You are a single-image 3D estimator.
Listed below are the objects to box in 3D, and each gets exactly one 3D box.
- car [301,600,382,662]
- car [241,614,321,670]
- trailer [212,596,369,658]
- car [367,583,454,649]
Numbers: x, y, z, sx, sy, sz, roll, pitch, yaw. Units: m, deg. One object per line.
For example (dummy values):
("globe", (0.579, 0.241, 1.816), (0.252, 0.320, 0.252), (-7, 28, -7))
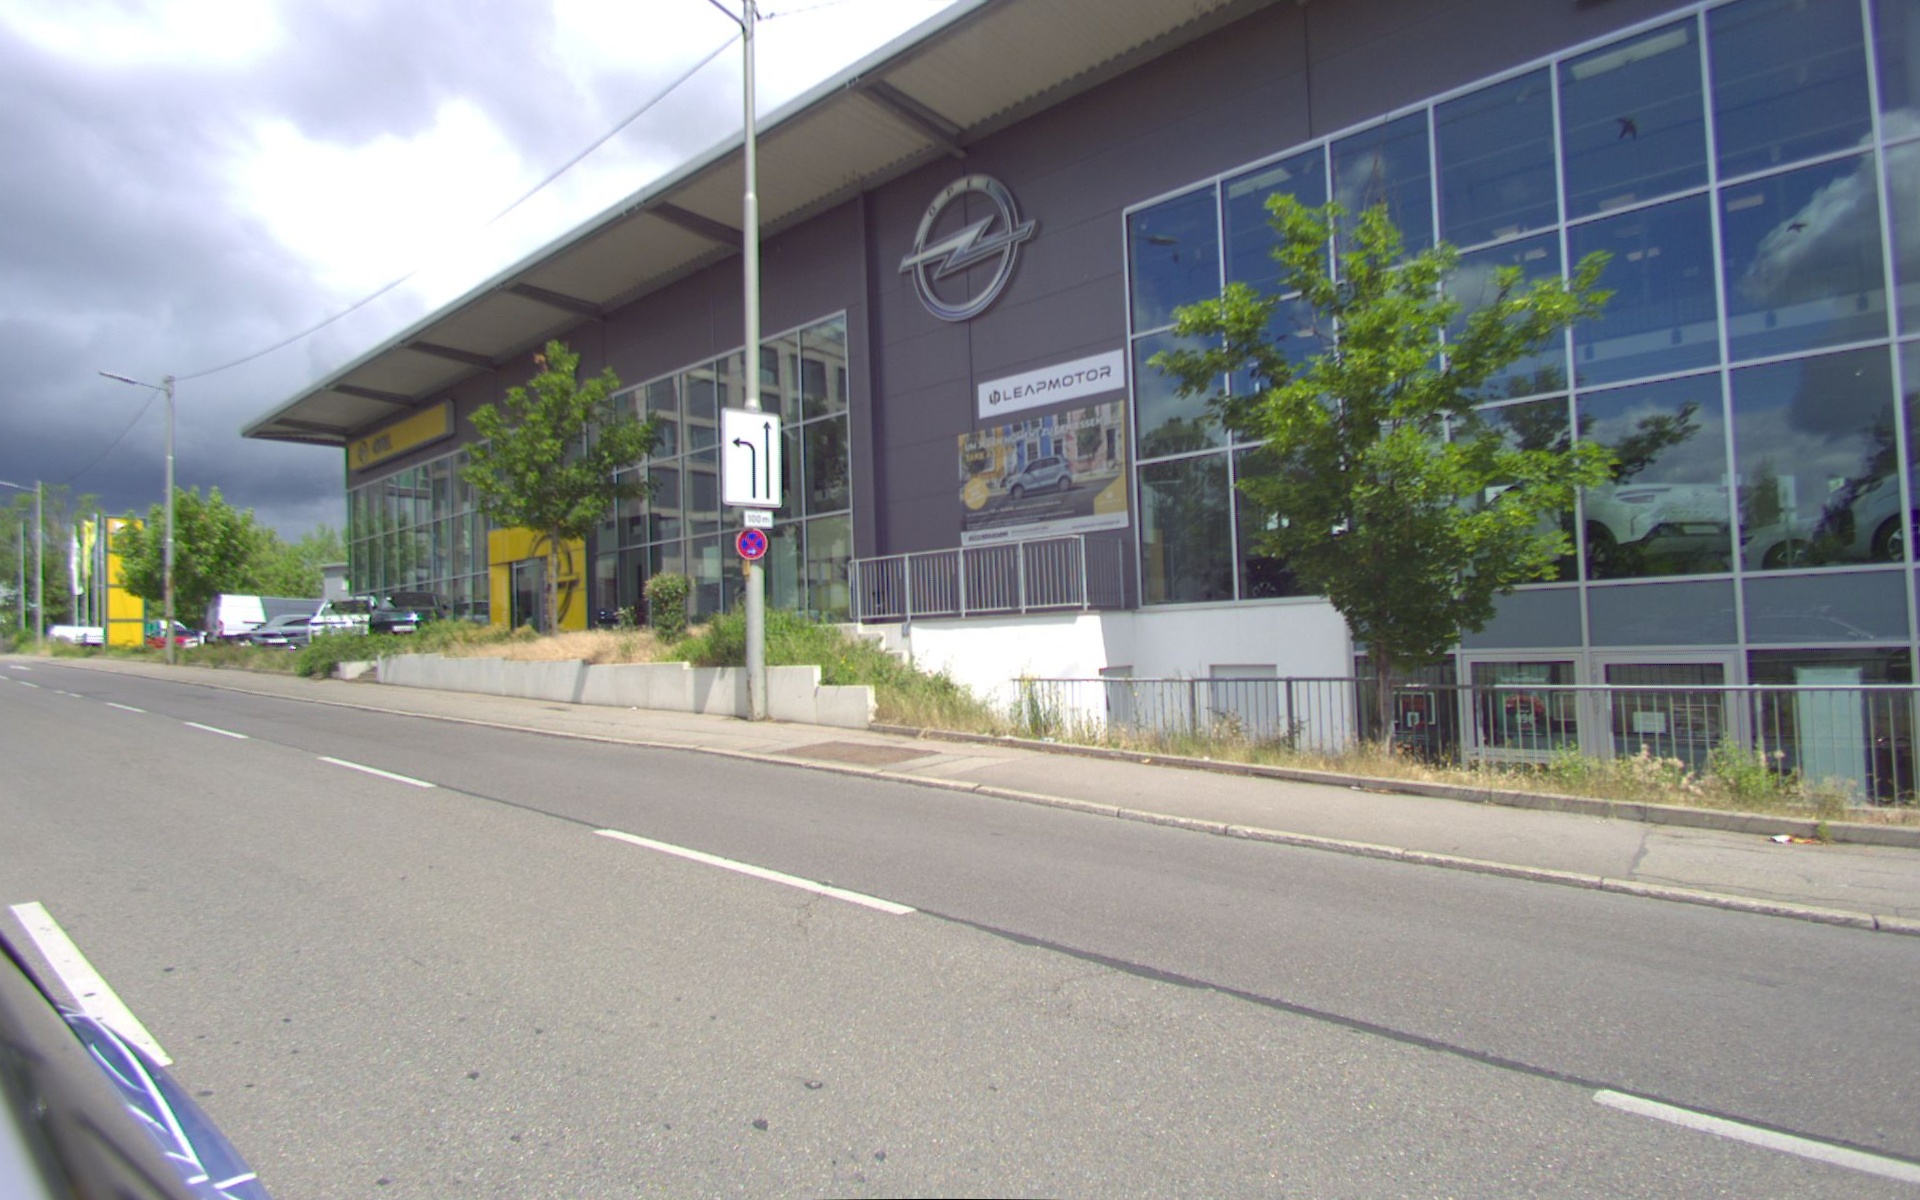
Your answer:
("car", (-19.215, 0.953, 31.587), (1.966, 1.807, 4.012), (1, -2, -29))
("car", (-23.480, 1.413, 35.149), (1.966, 1.807, 4.012), (1, -1, -29))
("trailer", (-27.427, 1.093, 41.602), (1.998, 2.367, 5.011), (-1, -2, 39))
("car", (-15.689, 0.476, 28.799), (1.966, 1.741, 4.011), (1, -2, -31))
